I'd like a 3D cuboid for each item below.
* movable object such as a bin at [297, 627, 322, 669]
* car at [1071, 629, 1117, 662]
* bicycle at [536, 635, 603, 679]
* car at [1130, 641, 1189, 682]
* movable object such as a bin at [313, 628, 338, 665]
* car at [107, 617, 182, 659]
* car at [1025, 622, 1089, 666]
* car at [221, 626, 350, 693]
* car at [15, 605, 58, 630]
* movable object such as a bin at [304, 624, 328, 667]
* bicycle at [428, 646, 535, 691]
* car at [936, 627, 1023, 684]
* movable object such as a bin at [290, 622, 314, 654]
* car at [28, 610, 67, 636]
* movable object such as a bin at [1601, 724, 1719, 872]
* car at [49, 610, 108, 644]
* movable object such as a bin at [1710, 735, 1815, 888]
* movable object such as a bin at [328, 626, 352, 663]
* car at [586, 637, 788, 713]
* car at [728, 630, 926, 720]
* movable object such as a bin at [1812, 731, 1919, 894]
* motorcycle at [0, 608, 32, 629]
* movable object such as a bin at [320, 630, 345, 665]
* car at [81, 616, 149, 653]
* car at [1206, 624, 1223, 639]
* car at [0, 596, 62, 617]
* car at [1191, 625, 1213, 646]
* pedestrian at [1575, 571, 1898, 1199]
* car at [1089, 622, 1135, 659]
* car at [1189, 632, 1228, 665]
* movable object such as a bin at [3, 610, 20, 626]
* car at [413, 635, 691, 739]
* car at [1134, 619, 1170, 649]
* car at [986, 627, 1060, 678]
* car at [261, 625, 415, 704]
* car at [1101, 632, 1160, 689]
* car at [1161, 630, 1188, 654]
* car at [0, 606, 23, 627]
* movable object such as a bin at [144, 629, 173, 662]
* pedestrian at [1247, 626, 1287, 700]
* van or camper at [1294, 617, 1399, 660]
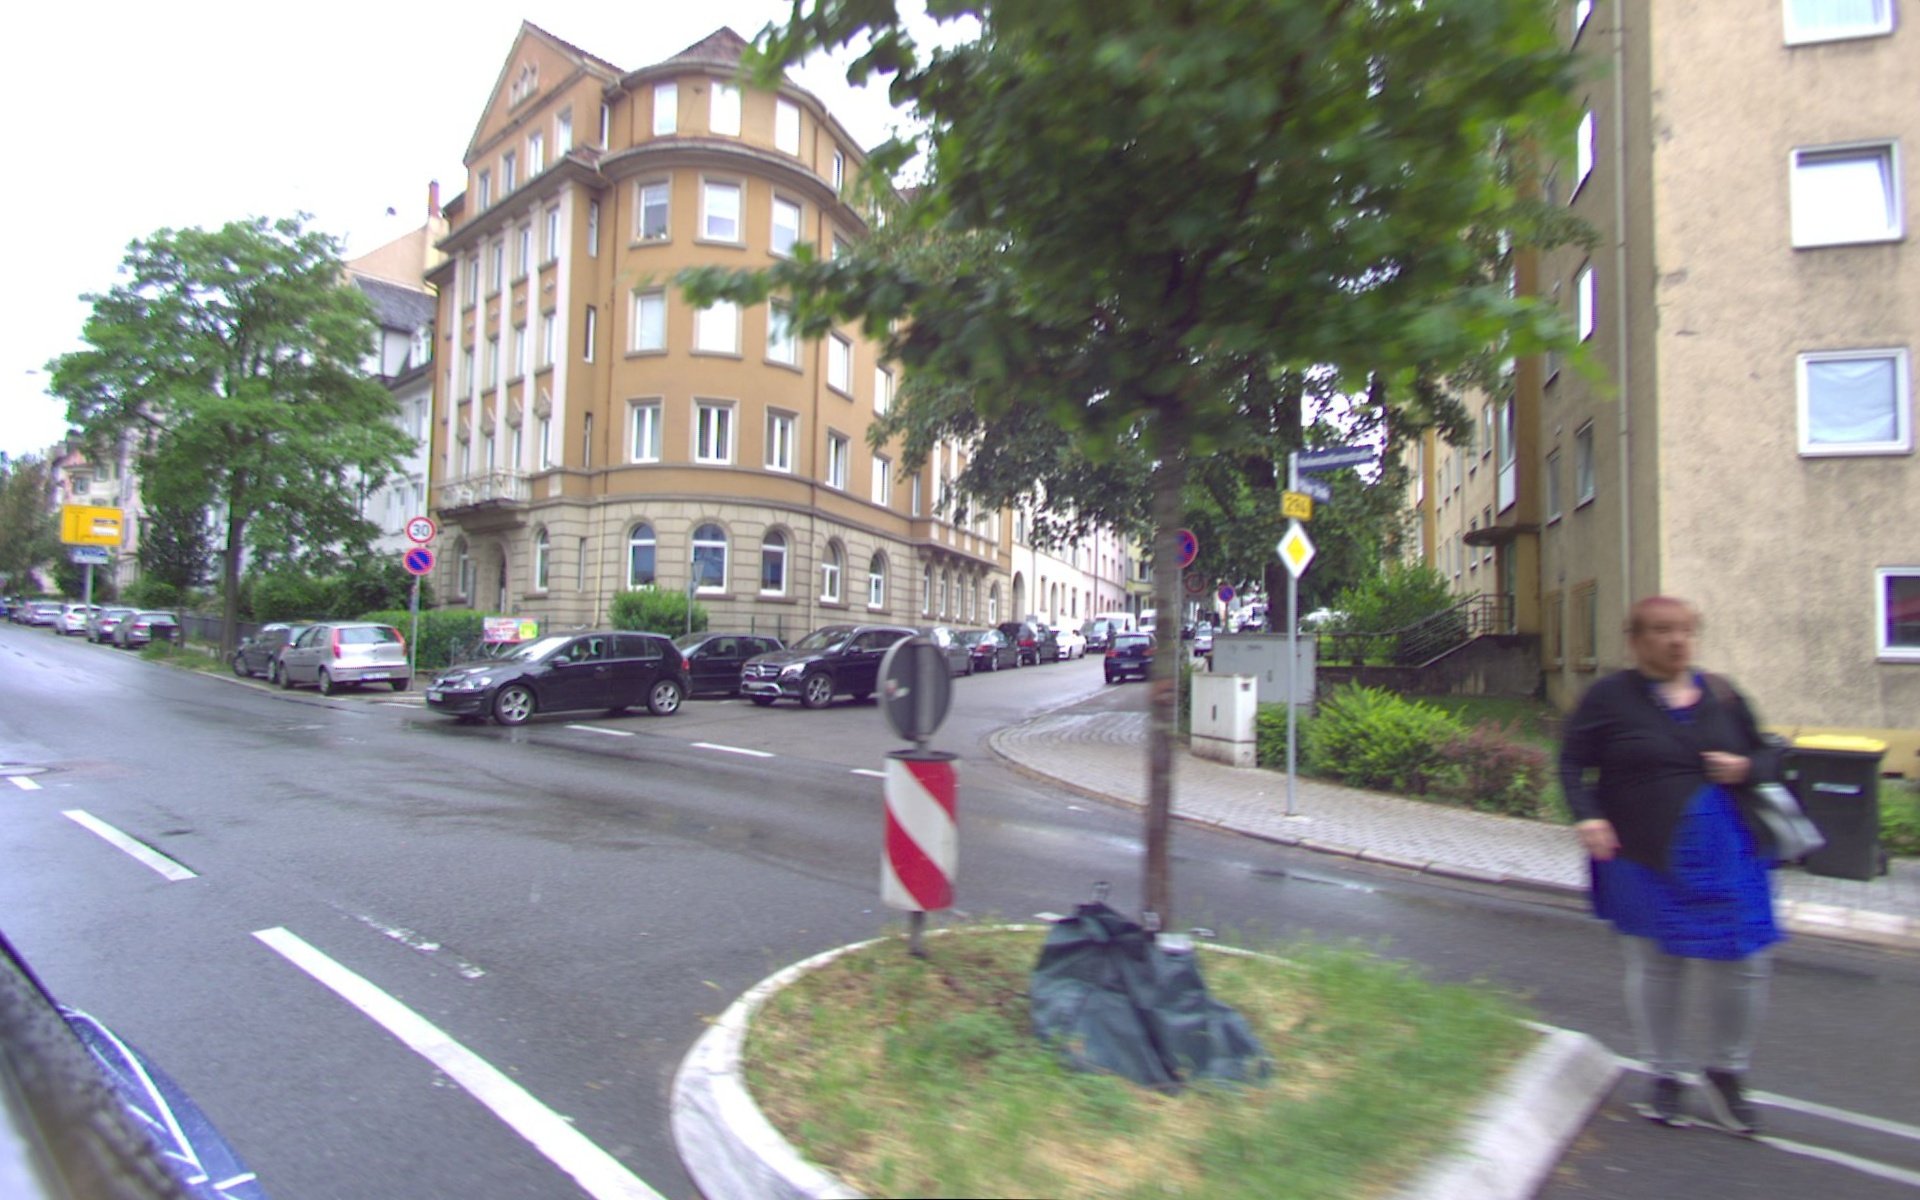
[{"bbox_3d":[-20.895,1.526,32.513,0.650,1.318,0.435,0,-3,42],"label":"movable object such as a bin"},{"bbox_3d":[7.325,2.453,55.109,1.789,1.519,3.588,1,1,18],"label":"car"},{"bbox_3d":[-9.626,1.402,25.018,0.797,1.019,1.700,1,-3,8],"label":"bicycle"},{"bbox_3d":[7.268,2.198,36.763,1.486,1.230,3.340,-1,0,22],"label":"car"},{"bbox_3d":[-19.778,1.445,31.539,0.657,1.139,0.435,0,-3,42],"label":"movable object such as a bin"},{"bbox_3d":[-30.745,1.411,38.119,3.936,1.401,1.664,1,-2,43],"label":"car"},{"bbox_3d":[4.453,1.933,46.009,1.836,1.741,3.971,1,1,22],"label":"car"},{"bbox_3d":[-16.926,1.441,25.330,3.940,1.465,1.636,0,-3,41],"label":"car"},{"bbox_3d":[-57.781,1.077,63.303,3.887,1.407,1.583,2,-2,42],"label":"car"},{"bbox_3d":[-20.385,1.438,32.031,0.609,1.318,0.435,0,-3,42],"label":"movable object such as a bin"},{"bbox_3d":[-12.014,1.722,25.474,0.804,1.054,2.323,0,-3,33],"label":"bicycle"},{"bbox_3d":[0.767,1.942,36.337,1.836,1.741,3.971,1,1,22],"label":"car"},{"bbox_3d":[-21.543,1.242,33.128,0.650,1.047,0.435,0,-3,42],"label":"movable object such as a bin"},{"bbox_3d":[-54.156,1.366,60.054,1.582,1.462,3.891,2,-1,-44],"label":"car"},{"bbox_3d":[5.950,1.650,8.604,0.731,1.089,0.547,2,-3,43],"label":"movable object such as a bin"},{"bbox_3d":[-42.689,1.309,48.984,3.795,1.519,1.628,0,-2,41],"label":"car"},{"bbox_3d":[6.479,1.679,8.174,0.606,1.089,0.485,1,-3,43],"label":"movable object such as a bin"},{"bbox_3d":[-18.719,1.340,30.559,0.589,1.089,0.435,0,-3,42],"label":"movable object such as a bin"},{"bbox_3d":[-5.781,1.587,21.719,1.744,1.400,3.772,2,-2,45],"label":"car"},{"bbox_3d":[-2.627,1.483,20.601,1.693,1.594,3.769,2,-2,42],"label":"car"},{"bbox_3d":[6.906,1.585,7.698,0.606,1.089,0.485,1,-3,43],"label":"movable object such as a bin"},{"bbox_3d":[-61.716,1.187,65.857,1.783,1.325,0.743,3,-2,-6],"label":"motorcycle"},{"bbox_3d":[-19.219,1.460,30.998,0.650,1.048,0.421,0,-3,42],"label":"movable object such as a bin"},{"bbox_3d":[-35.098,1.406,41.997,3.909,1.401,1.664,0,-2,43],"label":"car"},{"bbox_3d":[32.228,3.985,127.916,1.765,1.635,3.815,1,1,19],"label":"car"},{"bbox_3d":[-95.731,0.672,104.176,1.918,1.919,4.670,2,-1,40],"label":"car"},{"bbox_3d":[26.436,3.822,110.541,1.985,2.029,3.974,1,1,19],"label":"car"},{"bbox_3d":[2.427,0.805,3.254,0.740,1.722,0.672,0,-5,34],"label":"pedestrian"},{"bbox_3d":[9.165,2.396,60.861,1.985,2.029,3.974,1,1,19],"label":"car"},{"bbox_3d":[13.279,2.564,54.058,1.788,1.519,3.589,1,1,17],"label":"car"},{"bbox_3d":[-63.849,1.182,68.103,0.484,1.066,0.815,2,1,43],"label":"movable object such as a bin"},{"bbox_3d":[-6.496,1.306,16.404,1.742,1.400,3.775,2,0,41],"label":"car"},{"bbox_3d":[14.243,2.471,74.879,1.985,2.029,3.974,1,1,19],"label":"car"},{"bbox_3d":[2.594,2.055,40.833,1.836,1.741,3.971,1,1,22],"label":"car"},{"bbox_3d":[-13.525,1.342,21.930,3.835,1.465,1.616,0,-2,39],"label":"car"},{"bbox_3d":[5.291,1.823,31.199,1.670,1.519,3.597,-1,0,11],"label":"car"},{"bbox_3d":[20.378,3.942,96.027,1.985,2.029,3.974,1,1,19],"label":"car"},{"bbox_3d":[-73.199,1.245,77.520,4.603,1.396,1.660,2,-2,43],"label":"car"},{"bbox_3d":[-27.386,1.557,34.579,0.600,1.066,0.623,1,-2,43],"label":"movable object such as a bin"},{"bbox_3d":[7.243,1.471,23.851,0.813,1.695,0.623,-2,0,23],"label":"pedestrian"},{"bbox_3d":[26.140,2.552,68.725,6.293,2.653,2.282,1,1,12],"label":"van or camper"}]
